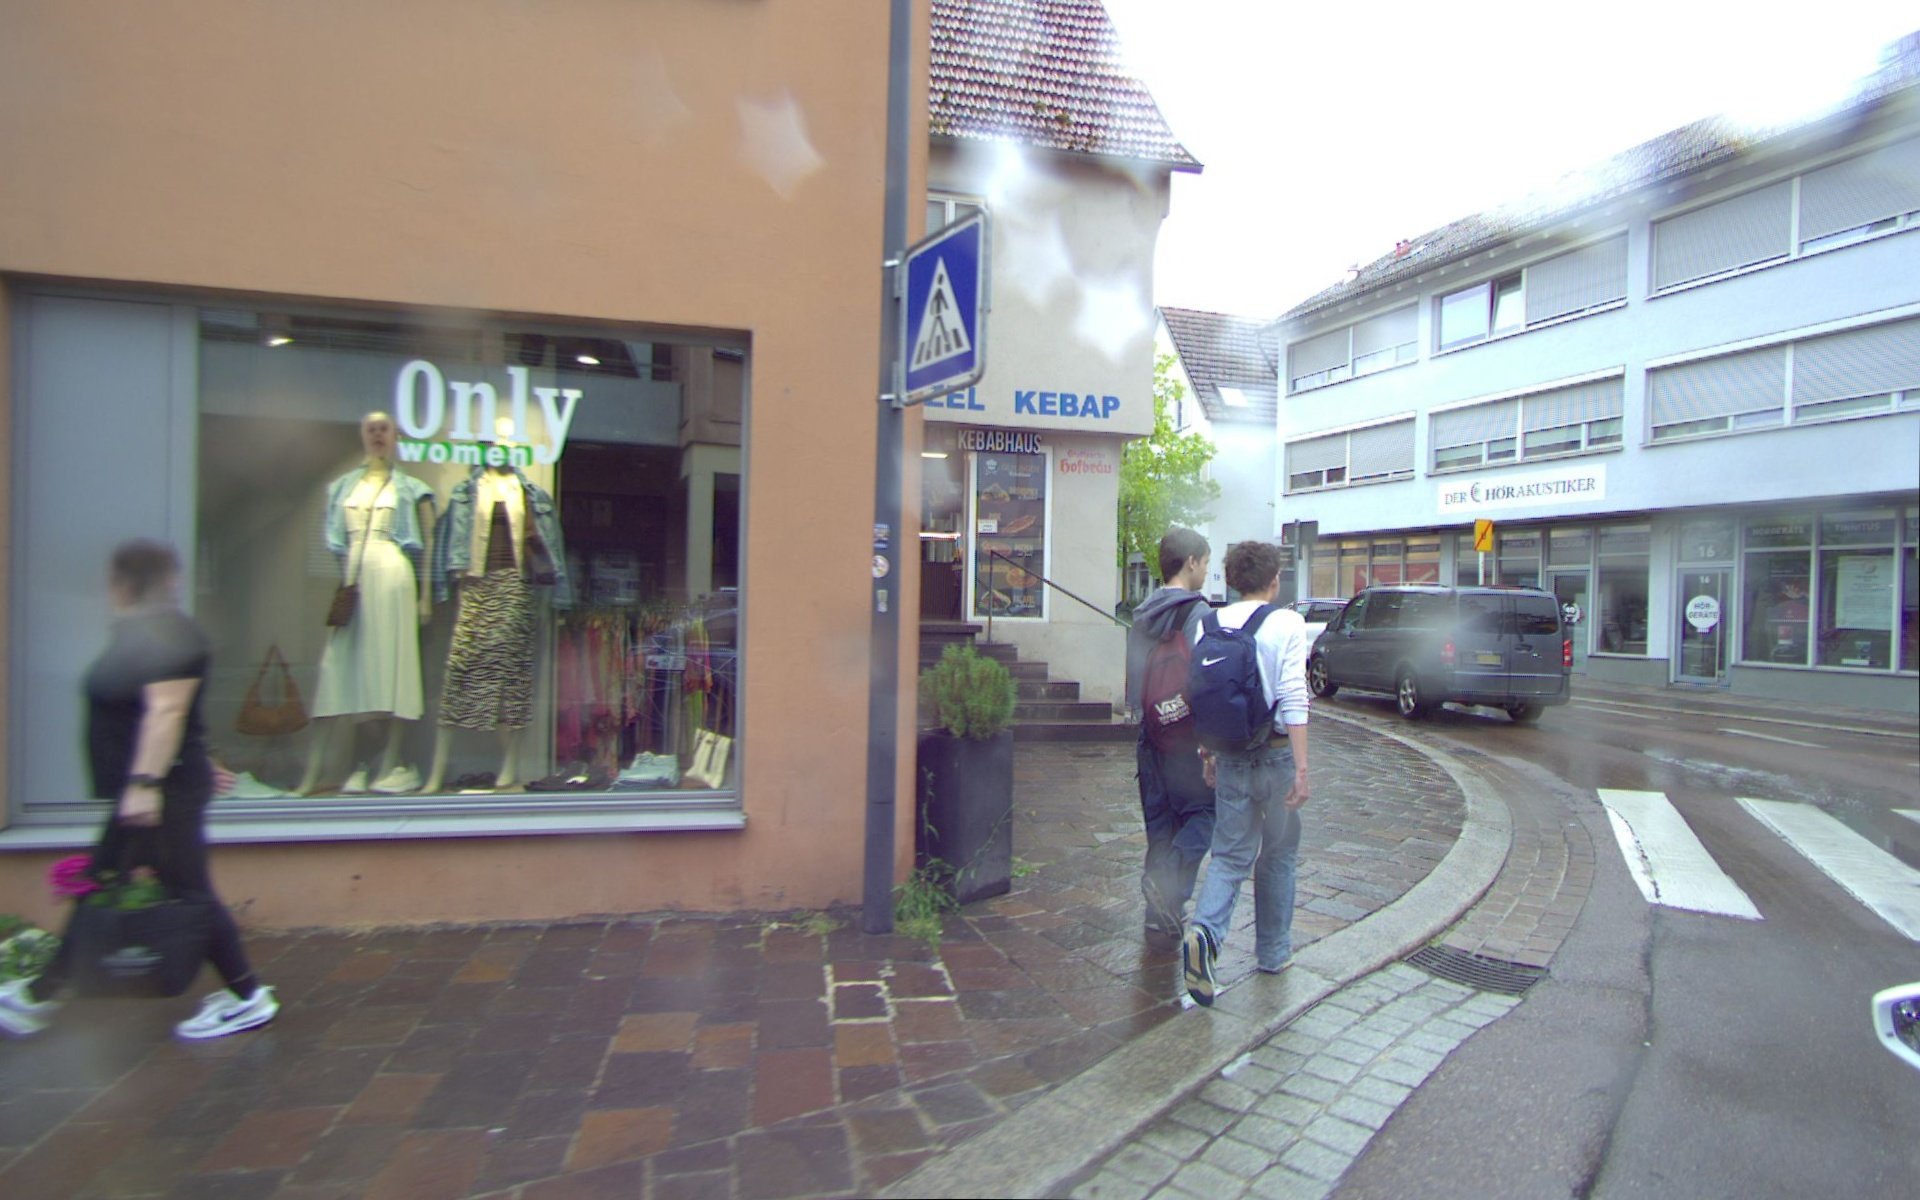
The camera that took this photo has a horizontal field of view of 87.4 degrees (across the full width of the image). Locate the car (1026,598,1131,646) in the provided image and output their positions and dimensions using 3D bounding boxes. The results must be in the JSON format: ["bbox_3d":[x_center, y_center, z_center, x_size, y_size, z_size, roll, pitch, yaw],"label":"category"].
[{"bbox_3d":[3.931,0.708,34.011,1.775,1.515,3.837,2,-1,-25],"label":"car"}]

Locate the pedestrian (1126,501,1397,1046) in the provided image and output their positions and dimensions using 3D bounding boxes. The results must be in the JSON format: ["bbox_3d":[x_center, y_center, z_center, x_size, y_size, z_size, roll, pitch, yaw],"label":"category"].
[{"bbox_3d":[1.229,0.591,3.998,0.655,1.830,1.056,1,-1,39],"label":"pedestrian"}]

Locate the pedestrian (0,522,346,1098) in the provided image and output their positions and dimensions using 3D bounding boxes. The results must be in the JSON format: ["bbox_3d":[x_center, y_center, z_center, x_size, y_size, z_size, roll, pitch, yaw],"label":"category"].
[{"bbox_3d":[-2.489,0.601,3.232,0.672,1.631,0.660,1,0,-13],"label":"pedestrian"}]

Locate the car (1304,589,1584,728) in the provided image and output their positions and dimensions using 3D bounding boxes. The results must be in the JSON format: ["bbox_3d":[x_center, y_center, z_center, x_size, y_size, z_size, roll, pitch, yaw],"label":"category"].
[{"bbox_3d":[7.157,0.756,15.522,1.915,1.805,4.725,1,0,-2],"label":"car"}]

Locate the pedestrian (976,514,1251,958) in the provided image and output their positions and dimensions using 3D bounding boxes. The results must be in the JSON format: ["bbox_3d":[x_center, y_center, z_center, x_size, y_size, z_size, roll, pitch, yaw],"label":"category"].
[{"bbox_3d":[0.655,0.574,4.529,1.039,1.824,0.694,1,0,-7],"label":"pedestrian"}]

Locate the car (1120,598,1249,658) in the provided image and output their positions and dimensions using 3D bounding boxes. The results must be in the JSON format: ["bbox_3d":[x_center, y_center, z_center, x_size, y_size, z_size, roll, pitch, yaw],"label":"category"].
[{"bbox_3d":[6.290,0.732,28.581,1.659,1.549,3.775,0,1,-25],"label":"car"}]

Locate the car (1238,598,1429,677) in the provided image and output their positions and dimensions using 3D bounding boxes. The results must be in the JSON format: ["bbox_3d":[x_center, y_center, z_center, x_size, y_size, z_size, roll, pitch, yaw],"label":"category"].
[{"bbox_3d":[8.671,0.805,23.697,1.671,1.634,4.196,0,1,-27],"label":"car"}]
